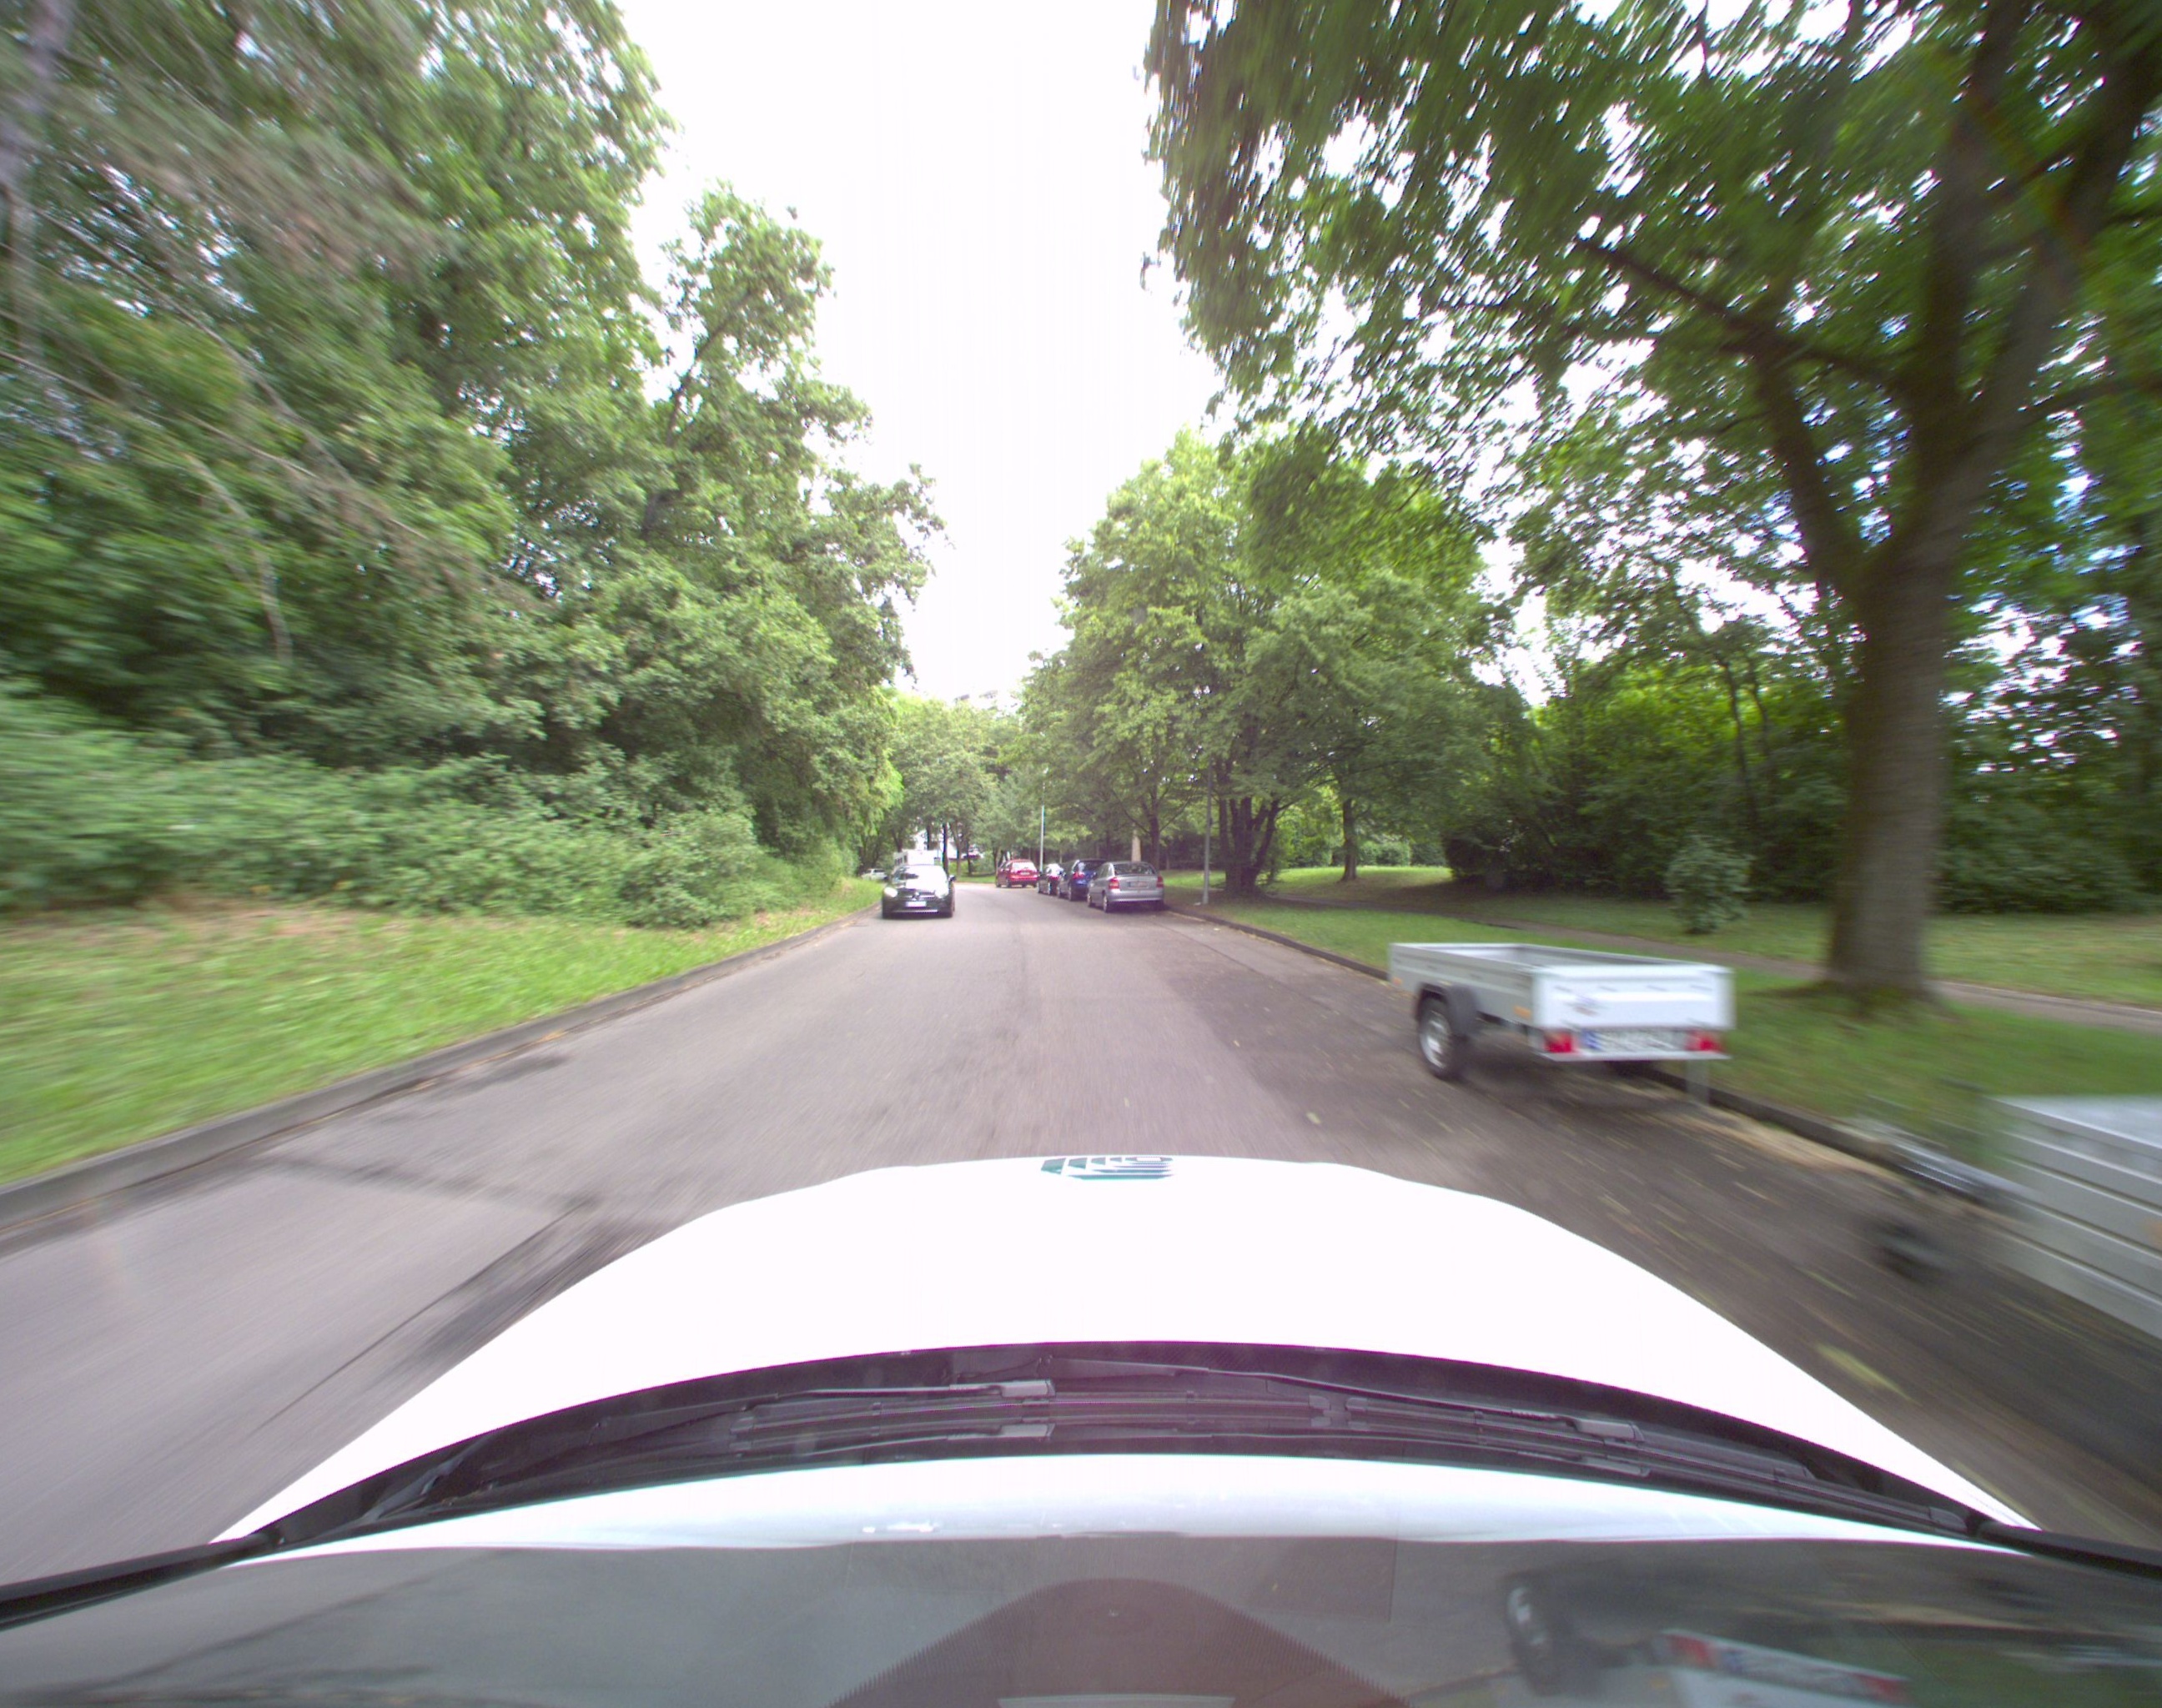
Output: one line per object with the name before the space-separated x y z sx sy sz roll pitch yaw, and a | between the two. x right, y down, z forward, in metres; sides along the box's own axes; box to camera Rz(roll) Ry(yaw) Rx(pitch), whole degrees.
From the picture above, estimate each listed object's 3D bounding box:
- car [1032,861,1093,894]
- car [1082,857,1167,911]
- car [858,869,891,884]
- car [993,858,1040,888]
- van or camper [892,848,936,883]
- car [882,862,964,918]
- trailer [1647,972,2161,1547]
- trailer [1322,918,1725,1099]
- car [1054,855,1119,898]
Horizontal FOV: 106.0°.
car | -0.872 1.007 35.485 1.752 1.337 4.394 0 -1 -14
car | 1.199 0.863 24.229 1.717 1.431 3.935 -1 -1 -10
car | -21.593 2.385 85.039 2.008 1.473 3.956 2 -2 -36
car | -3.668 1.065 46.008 1.743 1.562 3.975 -1 -1 -18
van or camper | -15.147 0.987 73.628 2.443 3.007 5.161 -1 0 -28
car | -4.355 0.974 23.082 1.788 1.389 4.483 1 -1 -5
trailer | 3.017 1.031 1.594 1.351 0.969 3.897 1 1 4
trailer | 3.075 1.033 6.394 1.359 0.848 3.277 1 -1 -1
car | 0.127 0.834 30.840 1.714 1.510 4.165 1 -1 -11
